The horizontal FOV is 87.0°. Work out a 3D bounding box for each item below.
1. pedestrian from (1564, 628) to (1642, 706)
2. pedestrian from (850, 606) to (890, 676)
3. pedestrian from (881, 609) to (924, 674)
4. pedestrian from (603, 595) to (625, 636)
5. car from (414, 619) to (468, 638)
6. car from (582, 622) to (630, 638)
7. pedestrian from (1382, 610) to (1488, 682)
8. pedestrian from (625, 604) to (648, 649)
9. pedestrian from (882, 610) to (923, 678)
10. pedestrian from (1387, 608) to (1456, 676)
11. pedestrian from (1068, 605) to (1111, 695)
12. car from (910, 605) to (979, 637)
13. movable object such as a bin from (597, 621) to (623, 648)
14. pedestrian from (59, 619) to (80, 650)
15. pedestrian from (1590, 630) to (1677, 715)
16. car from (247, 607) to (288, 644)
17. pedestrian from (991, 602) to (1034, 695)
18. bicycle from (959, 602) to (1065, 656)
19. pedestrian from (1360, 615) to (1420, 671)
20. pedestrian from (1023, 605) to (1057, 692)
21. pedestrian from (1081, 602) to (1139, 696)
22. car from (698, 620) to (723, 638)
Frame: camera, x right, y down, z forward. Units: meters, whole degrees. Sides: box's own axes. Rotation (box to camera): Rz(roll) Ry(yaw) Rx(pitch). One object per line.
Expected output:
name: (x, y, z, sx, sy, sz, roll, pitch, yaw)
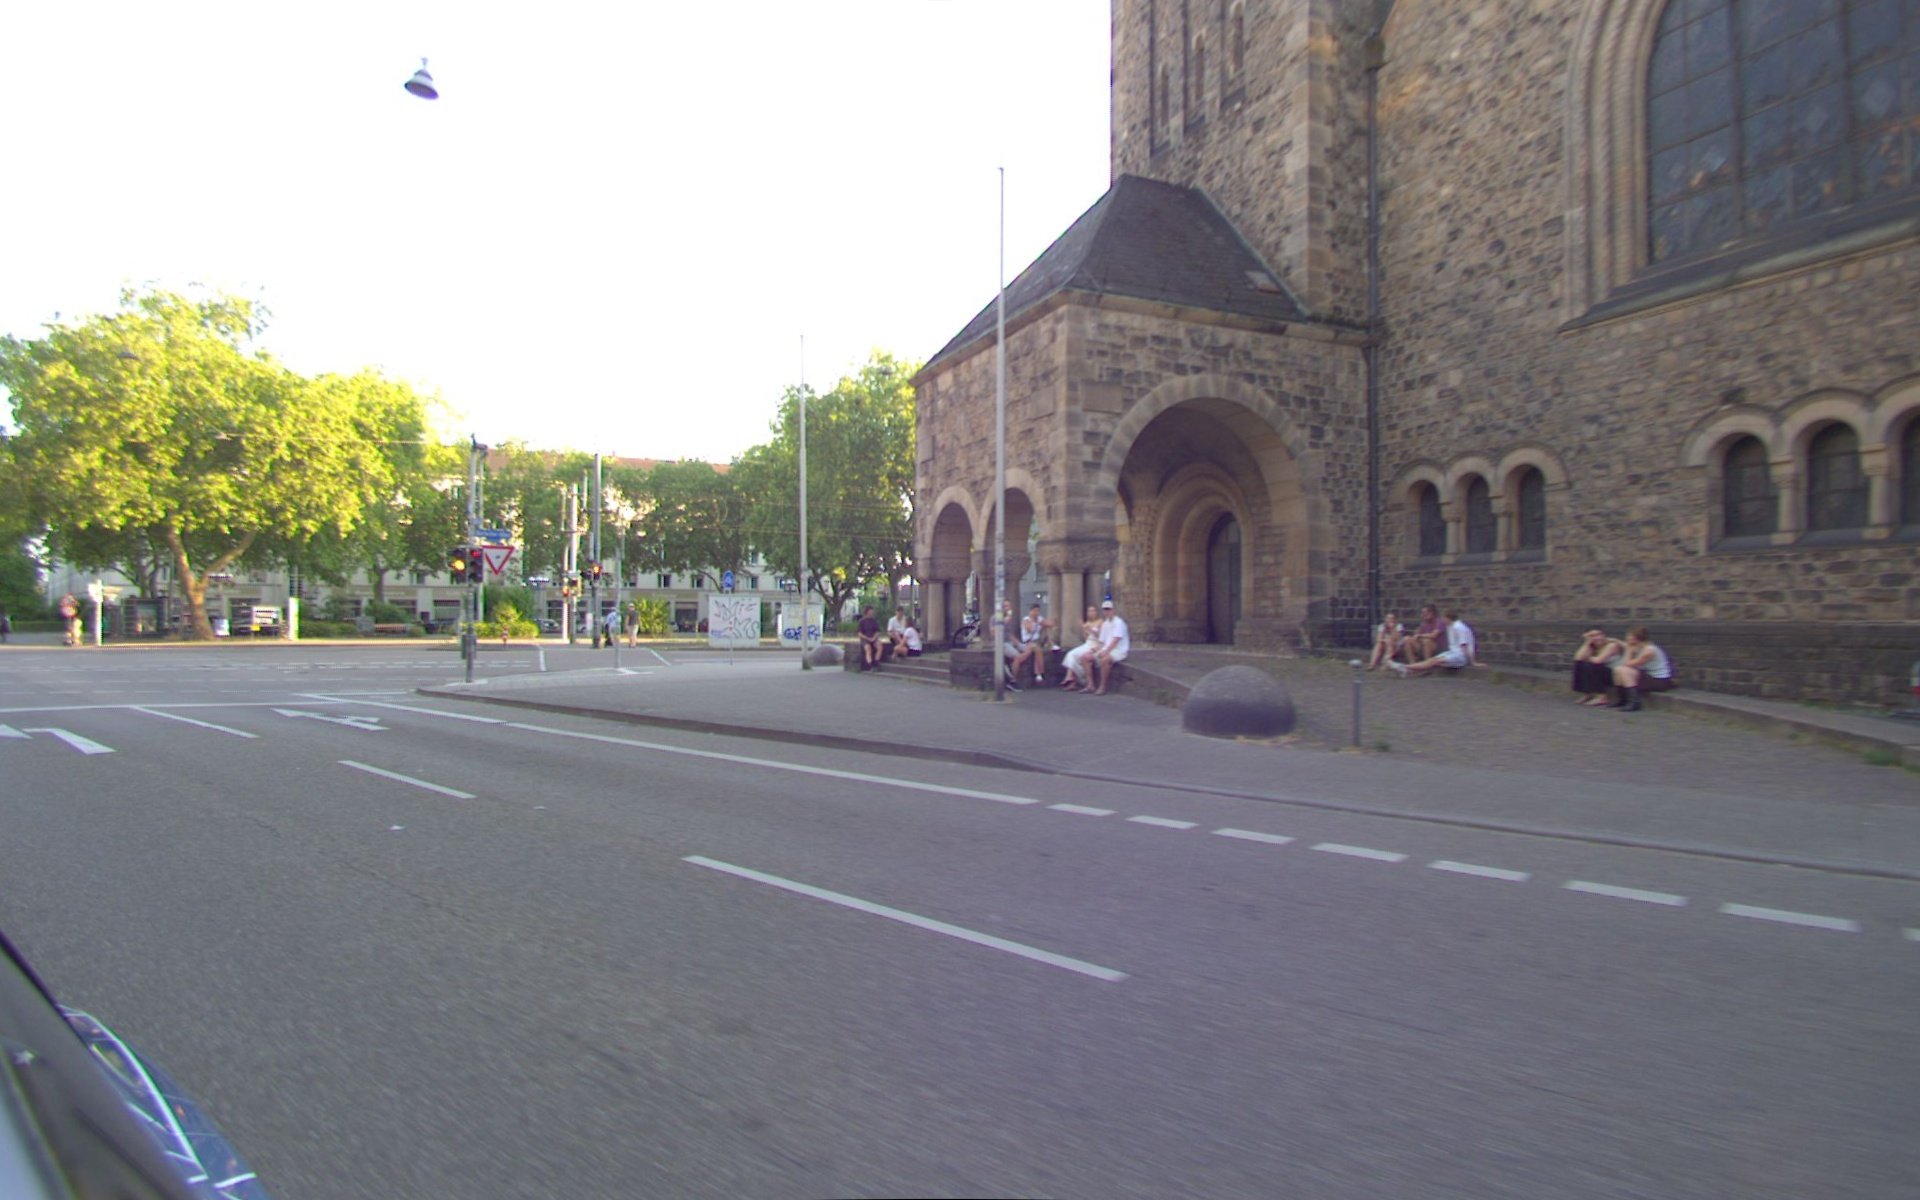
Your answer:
pedestrian: (8.230, 0.842, 12.973, 0.642, 0.975, 0.560, 0, -1, 8)
pedestrian: (-1.935, 0.877, 21.691, 0.619, 1.465, 0.918, 1, -1, -23)
pedestrian: (-1.248, 0.898, 21.987, 0.790, 1.385, 0.701, 0, -1, -15)
pedestrian: (-14.208, 0.632, 41.541, 0.708, 1.646, 1.010, 1, -2, -29)
car: (-45.925, 2.520, 89.685, 3.932, 1.719, 2.006, 0, -1, -15)
car: (-33.004, 2.783, 94.317, 3.931, 1.429, 1.815, 1, -1, -30)
pedestrian: (7.405, 0.711, 15.827, 1.315, 1.102, 0.685, 0, -1, 2)
pedestrian: (-13.406, 1.098, 41.977, 0.699, 1.861, 1.163, 1, -2, -29)
pedestrian: (-1.194, 0.901, 21.069, 0.793, 1.385, 0.699, 0, -1, 2)
pedestrian: (7.517, 0.677, 16.521, 0.819, 1.084, 0.647, 0, -1, 2)
pedestrian: (2.075, 0.796, 16.244, 0.539, 1.417, 0.460, 0, -1, -14)
car: (-1.301, 1.797, 85.522, 5.482, 2.638, 2.006, 0, -2, -25)
movable object such as a bin: (-14.724, 1.440, 42.551, 0.847, 1.128, 1.141, 1, -2, -29)
pedestrian: (-47.053, 1.825, 53.472, 0.734, 1.641, 0.662, 0, -1, -32)
pedestrian: (8.210, 0.870, 12.365, 0.688, 0.999, 0.560, 0, -1, 8)
car: (-38.943, 1.439, 56.958, 1.837, 2.029, 3.820, 1, -2, -34)
pedestrian: (0.838, 0.770, 16.310, 0.541, 1.464, 0.559, 0, -1, -14)
bicycle: (1.095, 0.592, 20.904, 2.247, 1.065, 0.597, 1, -2, -31)
pedestrian: (7.300, 0.722, 17.197, 0.730, 0.923, 0.647, 0, -1, 2)
pedestrian: (1.310, 0.789, 16.670, 0.395, 1.417, 0.549, 0, -1, -14)
pedestrian: (2.319, 0.745, 15.675, 0.692, 1.417, 0.634, 0, -1, -14)
car: (-25.317, 2.925, 102.438, 1.965, 1.752, 4.013, 0, -1, -21)
